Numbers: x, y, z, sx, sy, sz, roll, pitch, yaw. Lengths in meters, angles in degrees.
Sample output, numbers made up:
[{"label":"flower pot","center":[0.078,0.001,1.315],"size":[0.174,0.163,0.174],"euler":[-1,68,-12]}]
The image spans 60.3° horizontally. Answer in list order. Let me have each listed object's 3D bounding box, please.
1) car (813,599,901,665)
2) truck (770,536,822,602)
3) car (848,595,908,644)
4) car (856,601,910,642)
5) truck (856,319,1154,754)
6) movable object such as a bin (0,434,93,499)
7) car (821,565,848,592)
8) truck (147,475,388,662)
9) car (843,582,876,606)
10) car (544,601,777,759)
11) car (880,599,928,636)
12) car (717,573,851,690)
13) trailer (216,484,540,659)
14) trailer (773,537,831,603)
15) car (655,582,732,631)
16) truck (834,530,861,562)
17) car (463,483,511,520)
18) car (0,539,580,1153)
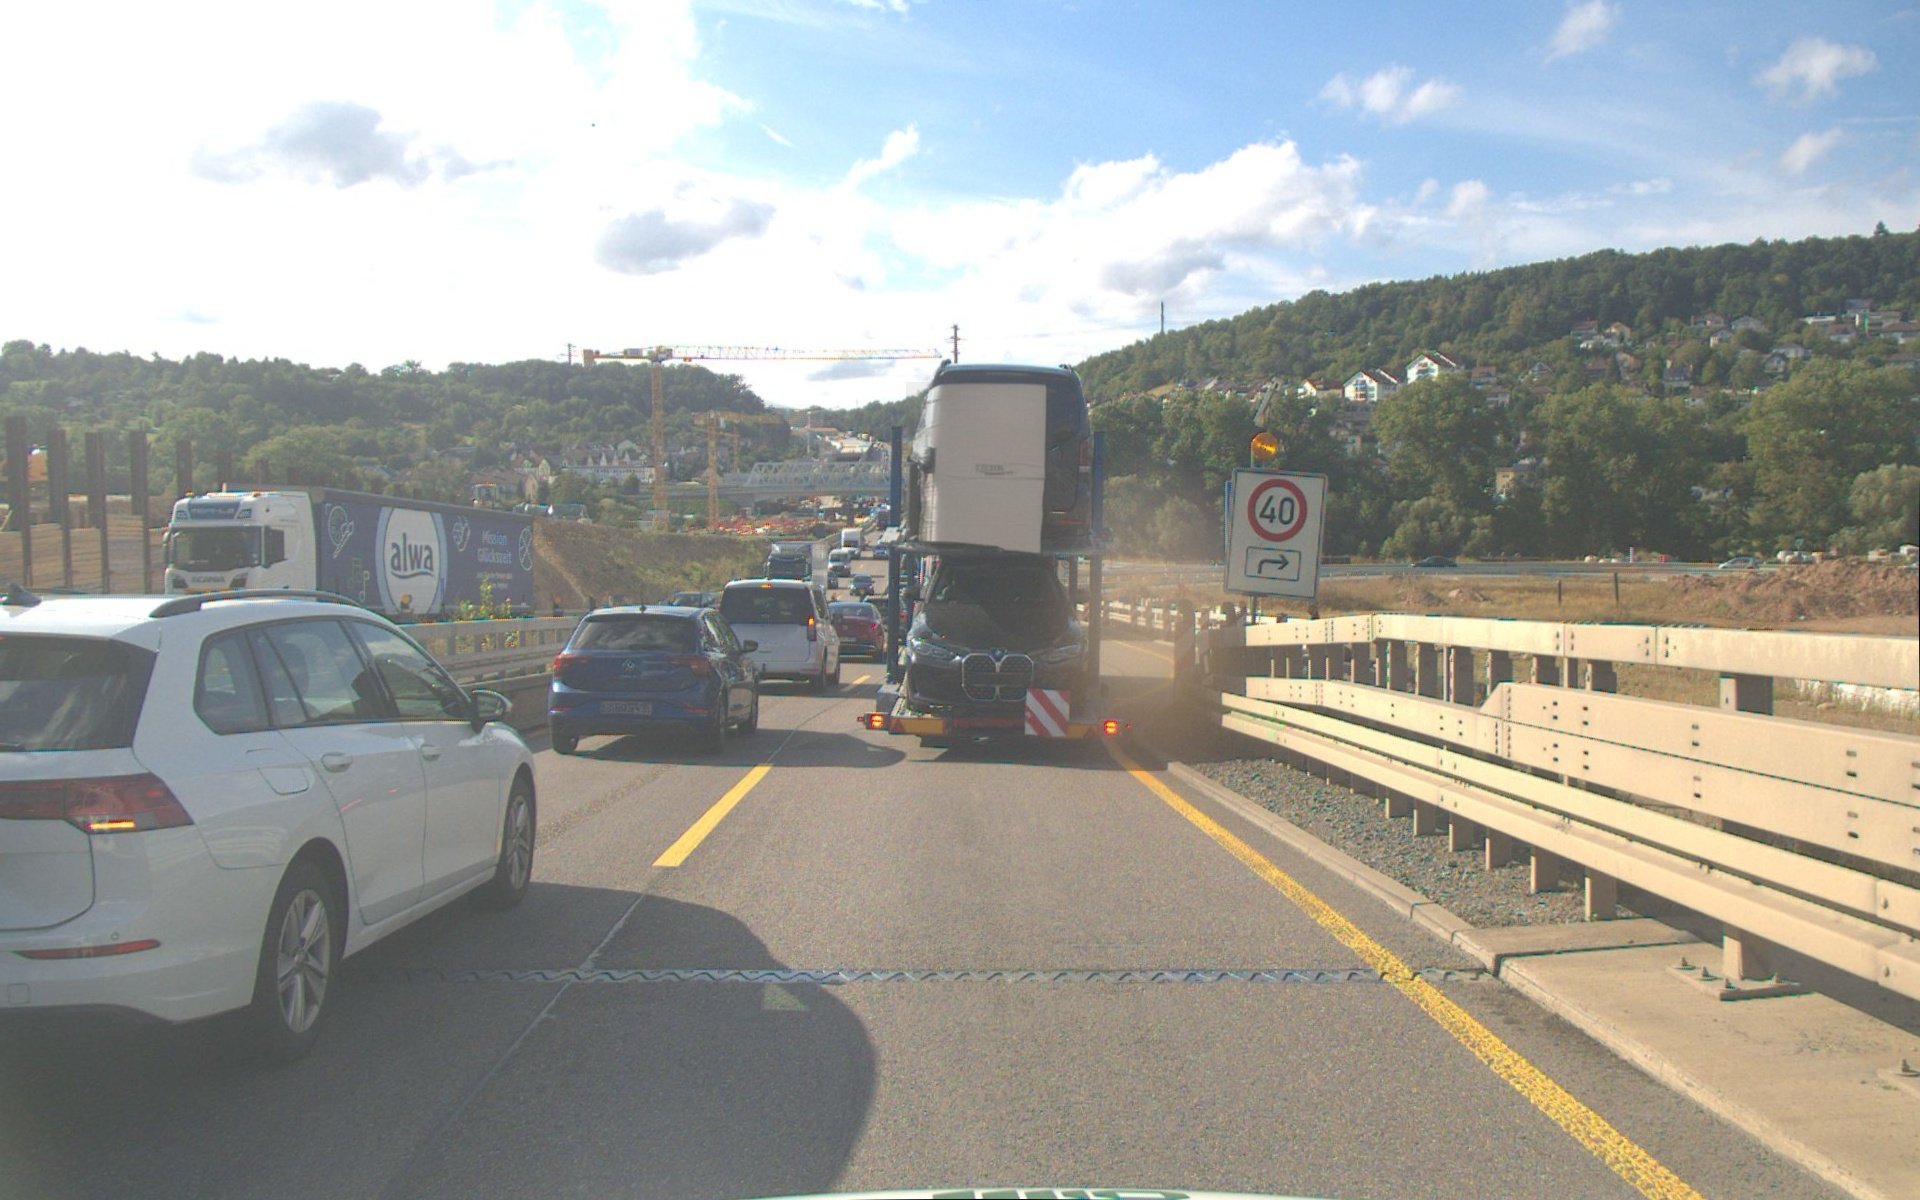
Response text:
[{"label":"car","center":[-2.602,0.806,42.594],"size":[1.952,1.584,4.401],"euler":[1,-1,0]},{"label":"truck","center":[-10.042,-1.870,101.848],"size":[2.721,3.855,6.016],"euler":[1,-1,-2]},{"label":"car","center":[-2.823,0.670,57.131],"size":[1.954,1.579,3.998],"euler":[1,-1,-3]},{"label":"car","center":[-3.055,0.864,66.439],"size":[1.952,1.579,4.000],"euler":[1,-1,0]},{"label":"truck","center":[0.193,-0.492,25.065],"size":[2.698,4.024,18.882],"euler":[2,-1,-1]},{"label":"movable object such as a bin","center":[-54.126,-7.638,95.400],"size":[5.623,3.328,4.514],"euler":[1,-1,11]},{"label":"car","center":[-11.958,-2.024,157.768],"size":[2.212,2.444,5.865],"euler":[1,-1,-1]},{"label":"truck","center":[-16.732,-0.694,40.435],"size":[2.654,4.210,5.975],"euler":[1,-1,8]},{"label":"car","center":[-7.650,-0.470,126.217],"size":[1.952,1.757,4.124],"euler":[1,-1,4]},{"label":"car","center":[-3.042,0.783,17.578],"size":[1.686,1.447,4.000],"euler":[1,-1,0]},{"label":"car","center":[-2.449,0.766,73.447],"size":[1.952,1.579,4.000],"euler":[1,-1,0]},{"label":"car","center":[-2.912,0.521,28.091],"size":[1.785,1.823,4.000],"euler":[1,-1,0]},{"label":"trailer","center":[-15.852,-0.607,46.920],"size":[2.630,4.229,13.822],"euler":[1,-1,7]},{"label":"trailer","center":[-10.185,-1.823,108.175],"size":[2.764,3.909,13.798],"euler":[1,-1,-1]},{"label":"car","center":[-10.108,0.271,63.005],"size":[1.883,1.798,4.329],"euler":[1,-1,4]},{"label":"truck","center":[-12.902,-6.175,190.206],"size":[2.645,3.369,7.535],"euler":[1,-1,-1]},{"label":"car","center":[-33.968,-7.035,118.901],"size":[1.954,2.177,5.320],"euler":[-4,-1,-1]},{"label":"car","center":[-2.859,0.659,6.368],"size":[1.734,1.517,4.516],"euler":[-1,-1,0]}]
